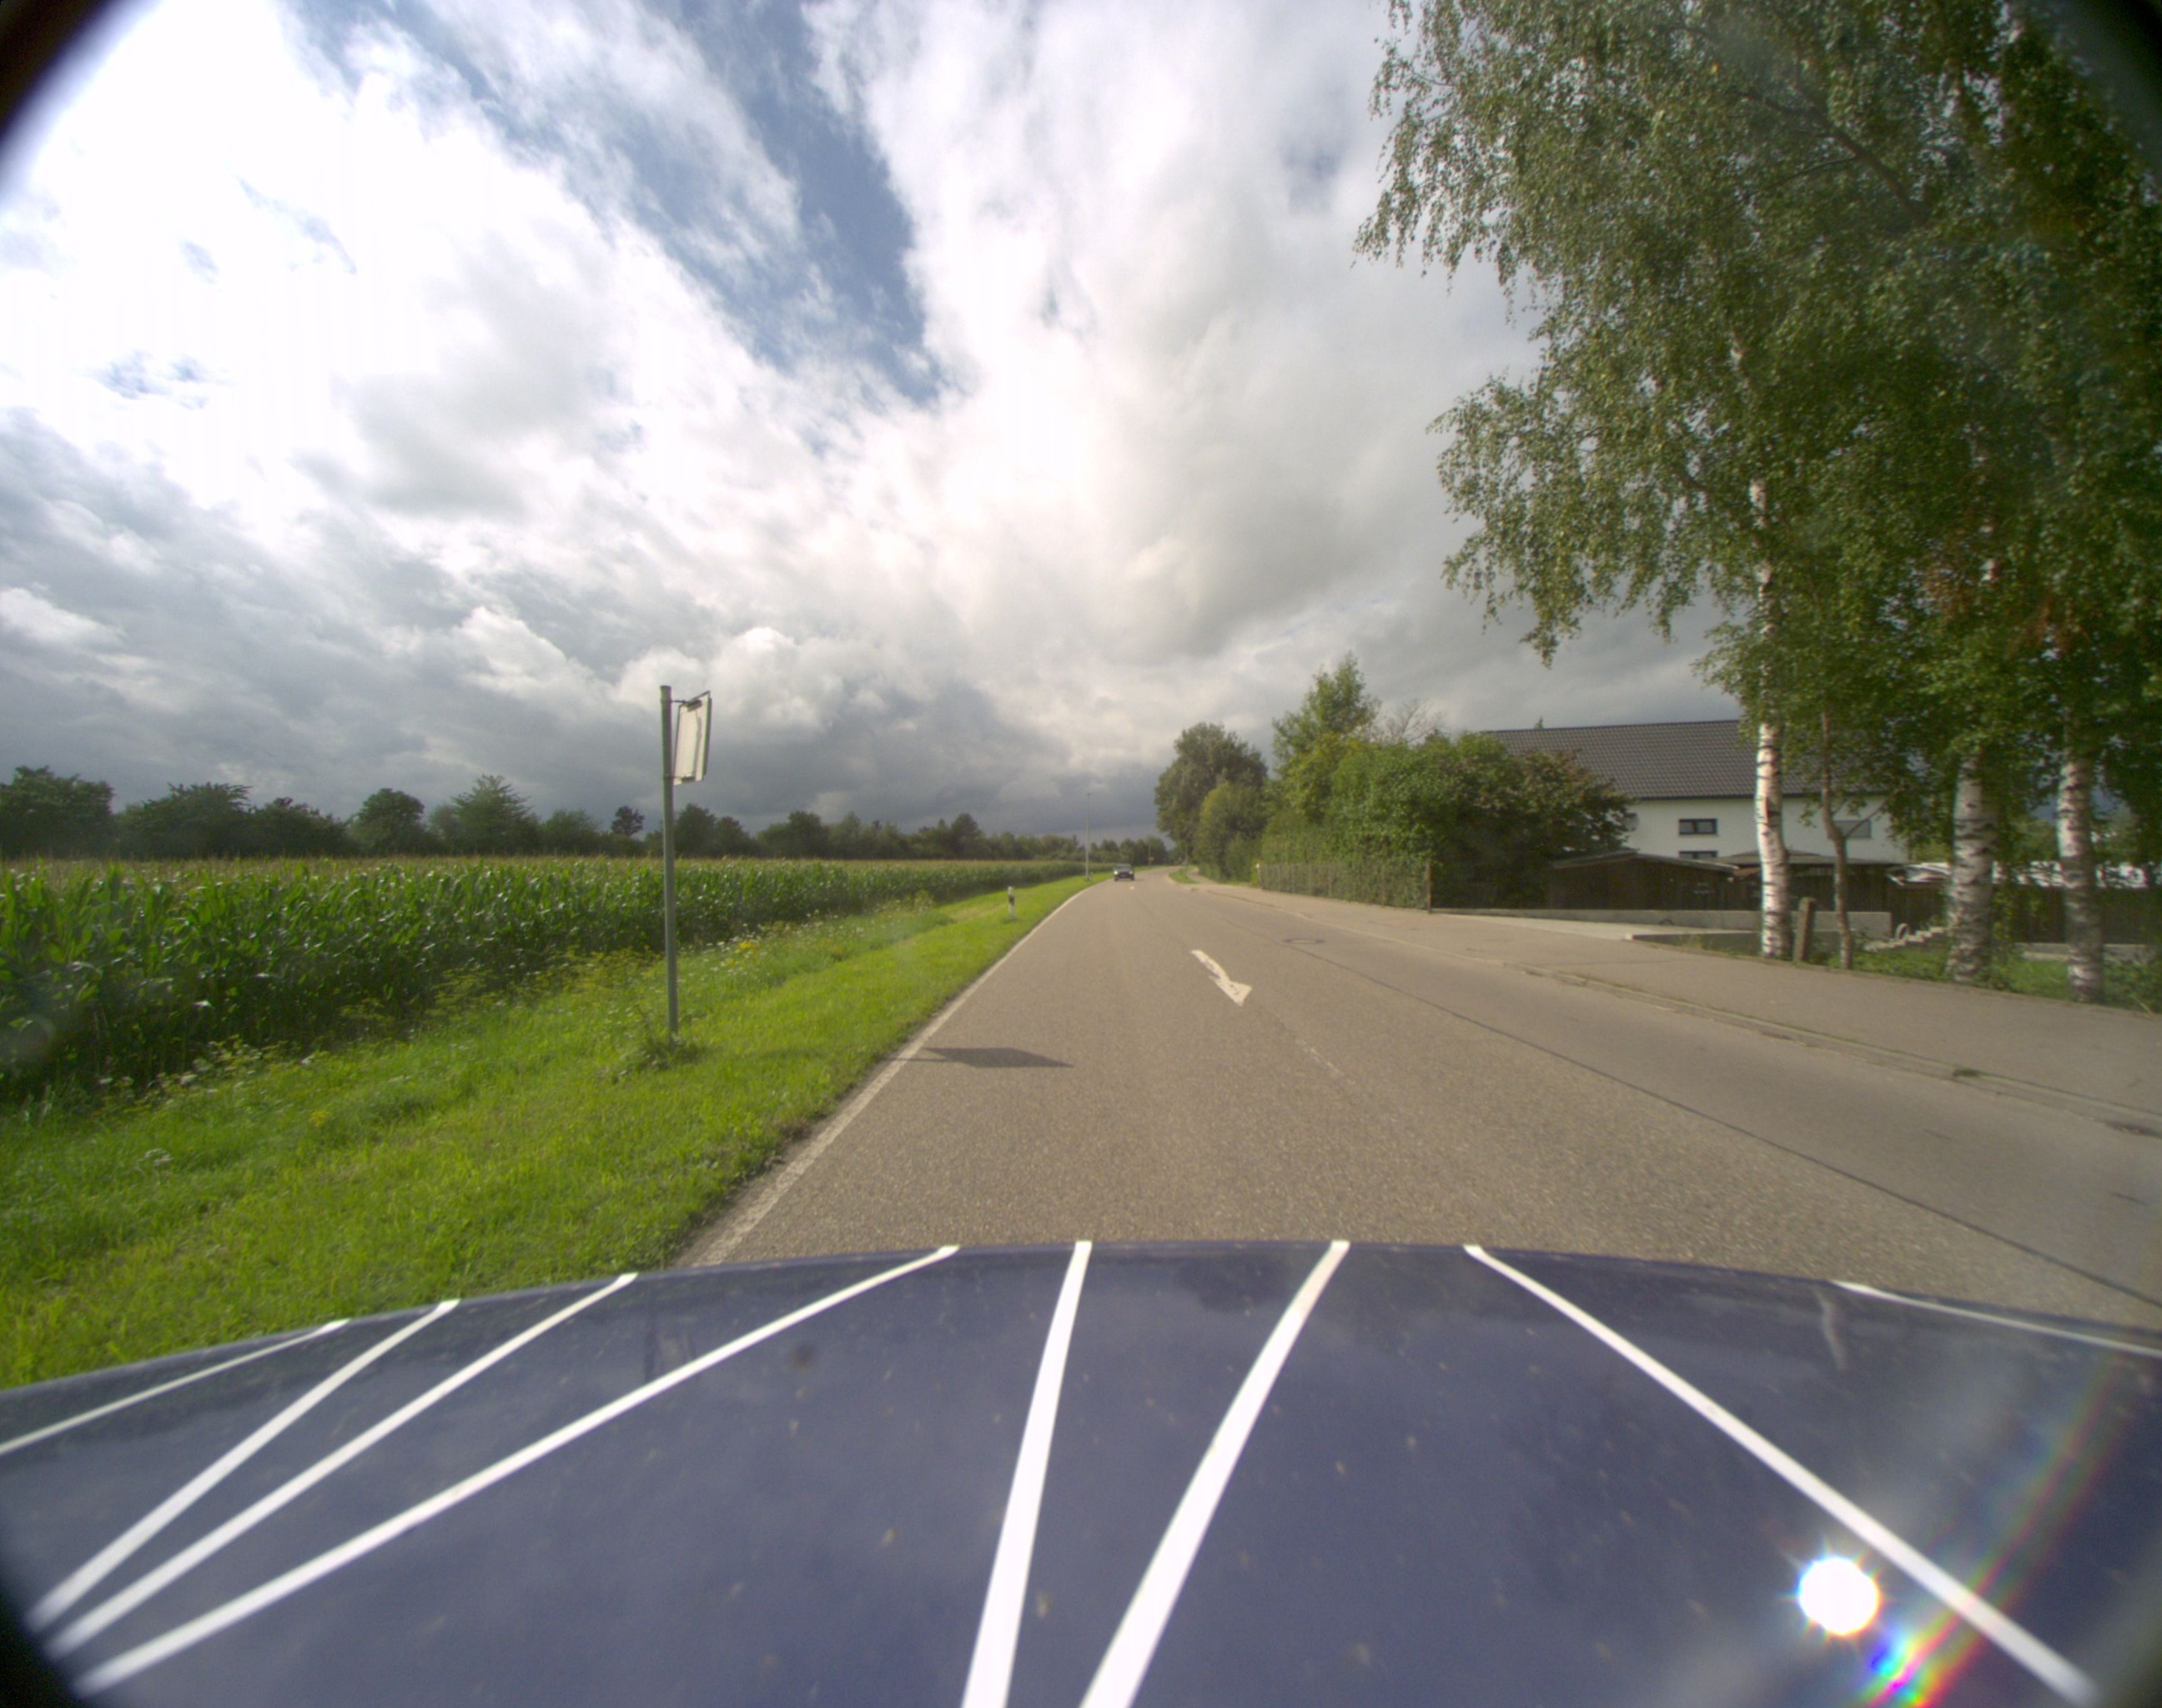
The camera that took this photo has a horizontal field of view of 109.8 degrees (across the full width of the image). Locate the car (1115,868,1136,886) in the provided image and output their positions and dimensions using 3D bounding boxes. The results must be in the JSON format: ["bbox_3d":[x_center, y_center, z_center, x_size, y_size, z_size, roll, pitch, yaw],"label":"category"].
[{"bbox_3d":[4.412,2.228,74.679,1.998,1.594,4.001,-1,0,4],"label":"car"}]
